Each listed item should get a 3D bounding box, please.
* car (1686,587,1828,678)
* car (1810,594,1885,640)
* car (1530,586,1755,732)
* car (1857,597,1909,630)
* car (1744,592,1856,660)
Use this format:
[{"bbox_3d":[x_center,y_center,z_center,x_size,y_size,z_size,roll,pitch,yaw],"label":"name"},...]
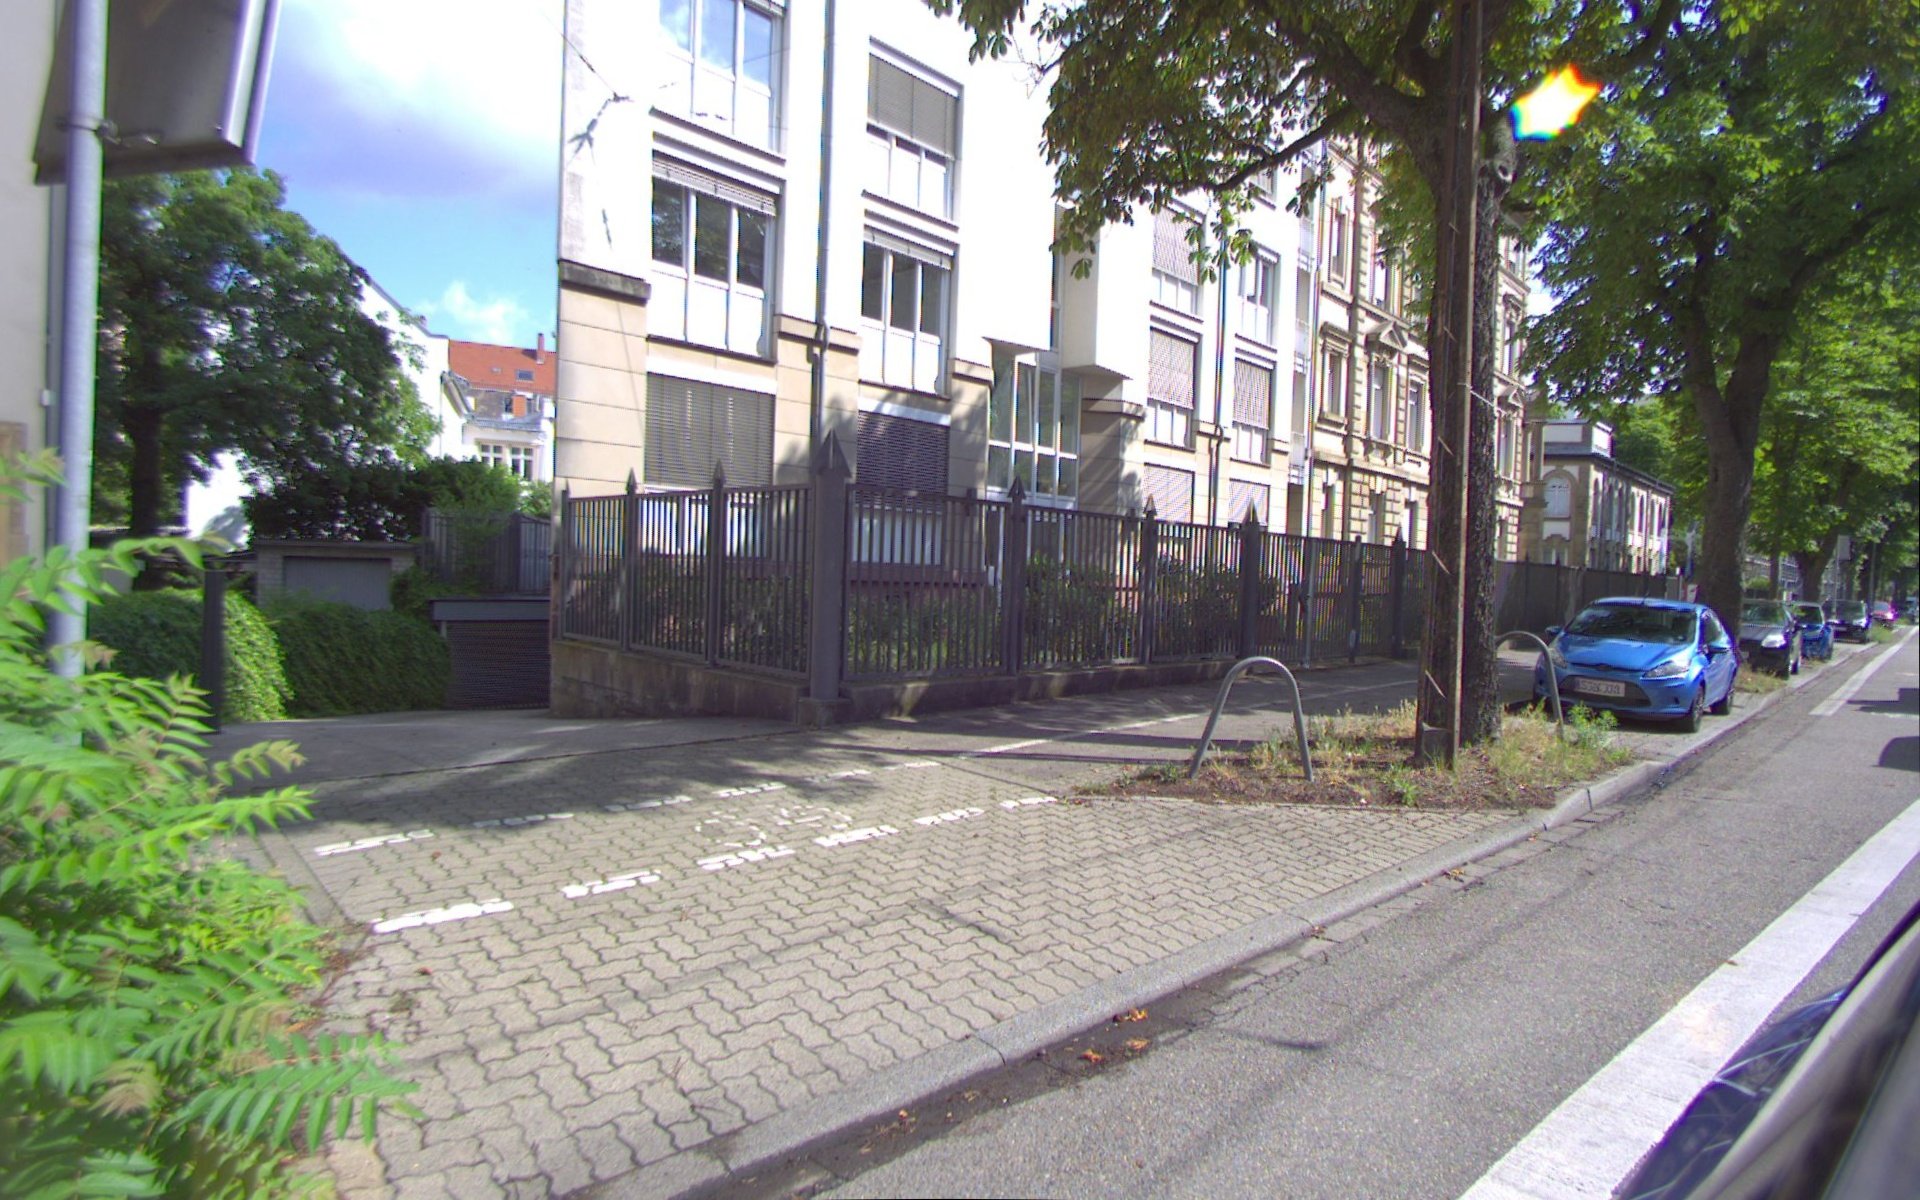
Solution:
[{"bbox_3d":[15.786,0.580,19.992,3.562,1.526,1.643,0,4,-44],"label":"car"},{"bbox_3d":[34.318,0.607,39.095,4.131,1.549,1.772,0,4,-45],"label":"car"},{"bbox_3d":[8.679,0.625,12.756,1.639,1.472,3.639,6,4,44],"label":"car"},{"bbox_3d":[50.201,0.706,55.033,4.131,1.591,1.772,0,4,-45],"label":"car"},{"bbox_3d":[21.377,0.607,25.714,3.861,1.469,1.722,0,4,-45],"label":"car"}]
